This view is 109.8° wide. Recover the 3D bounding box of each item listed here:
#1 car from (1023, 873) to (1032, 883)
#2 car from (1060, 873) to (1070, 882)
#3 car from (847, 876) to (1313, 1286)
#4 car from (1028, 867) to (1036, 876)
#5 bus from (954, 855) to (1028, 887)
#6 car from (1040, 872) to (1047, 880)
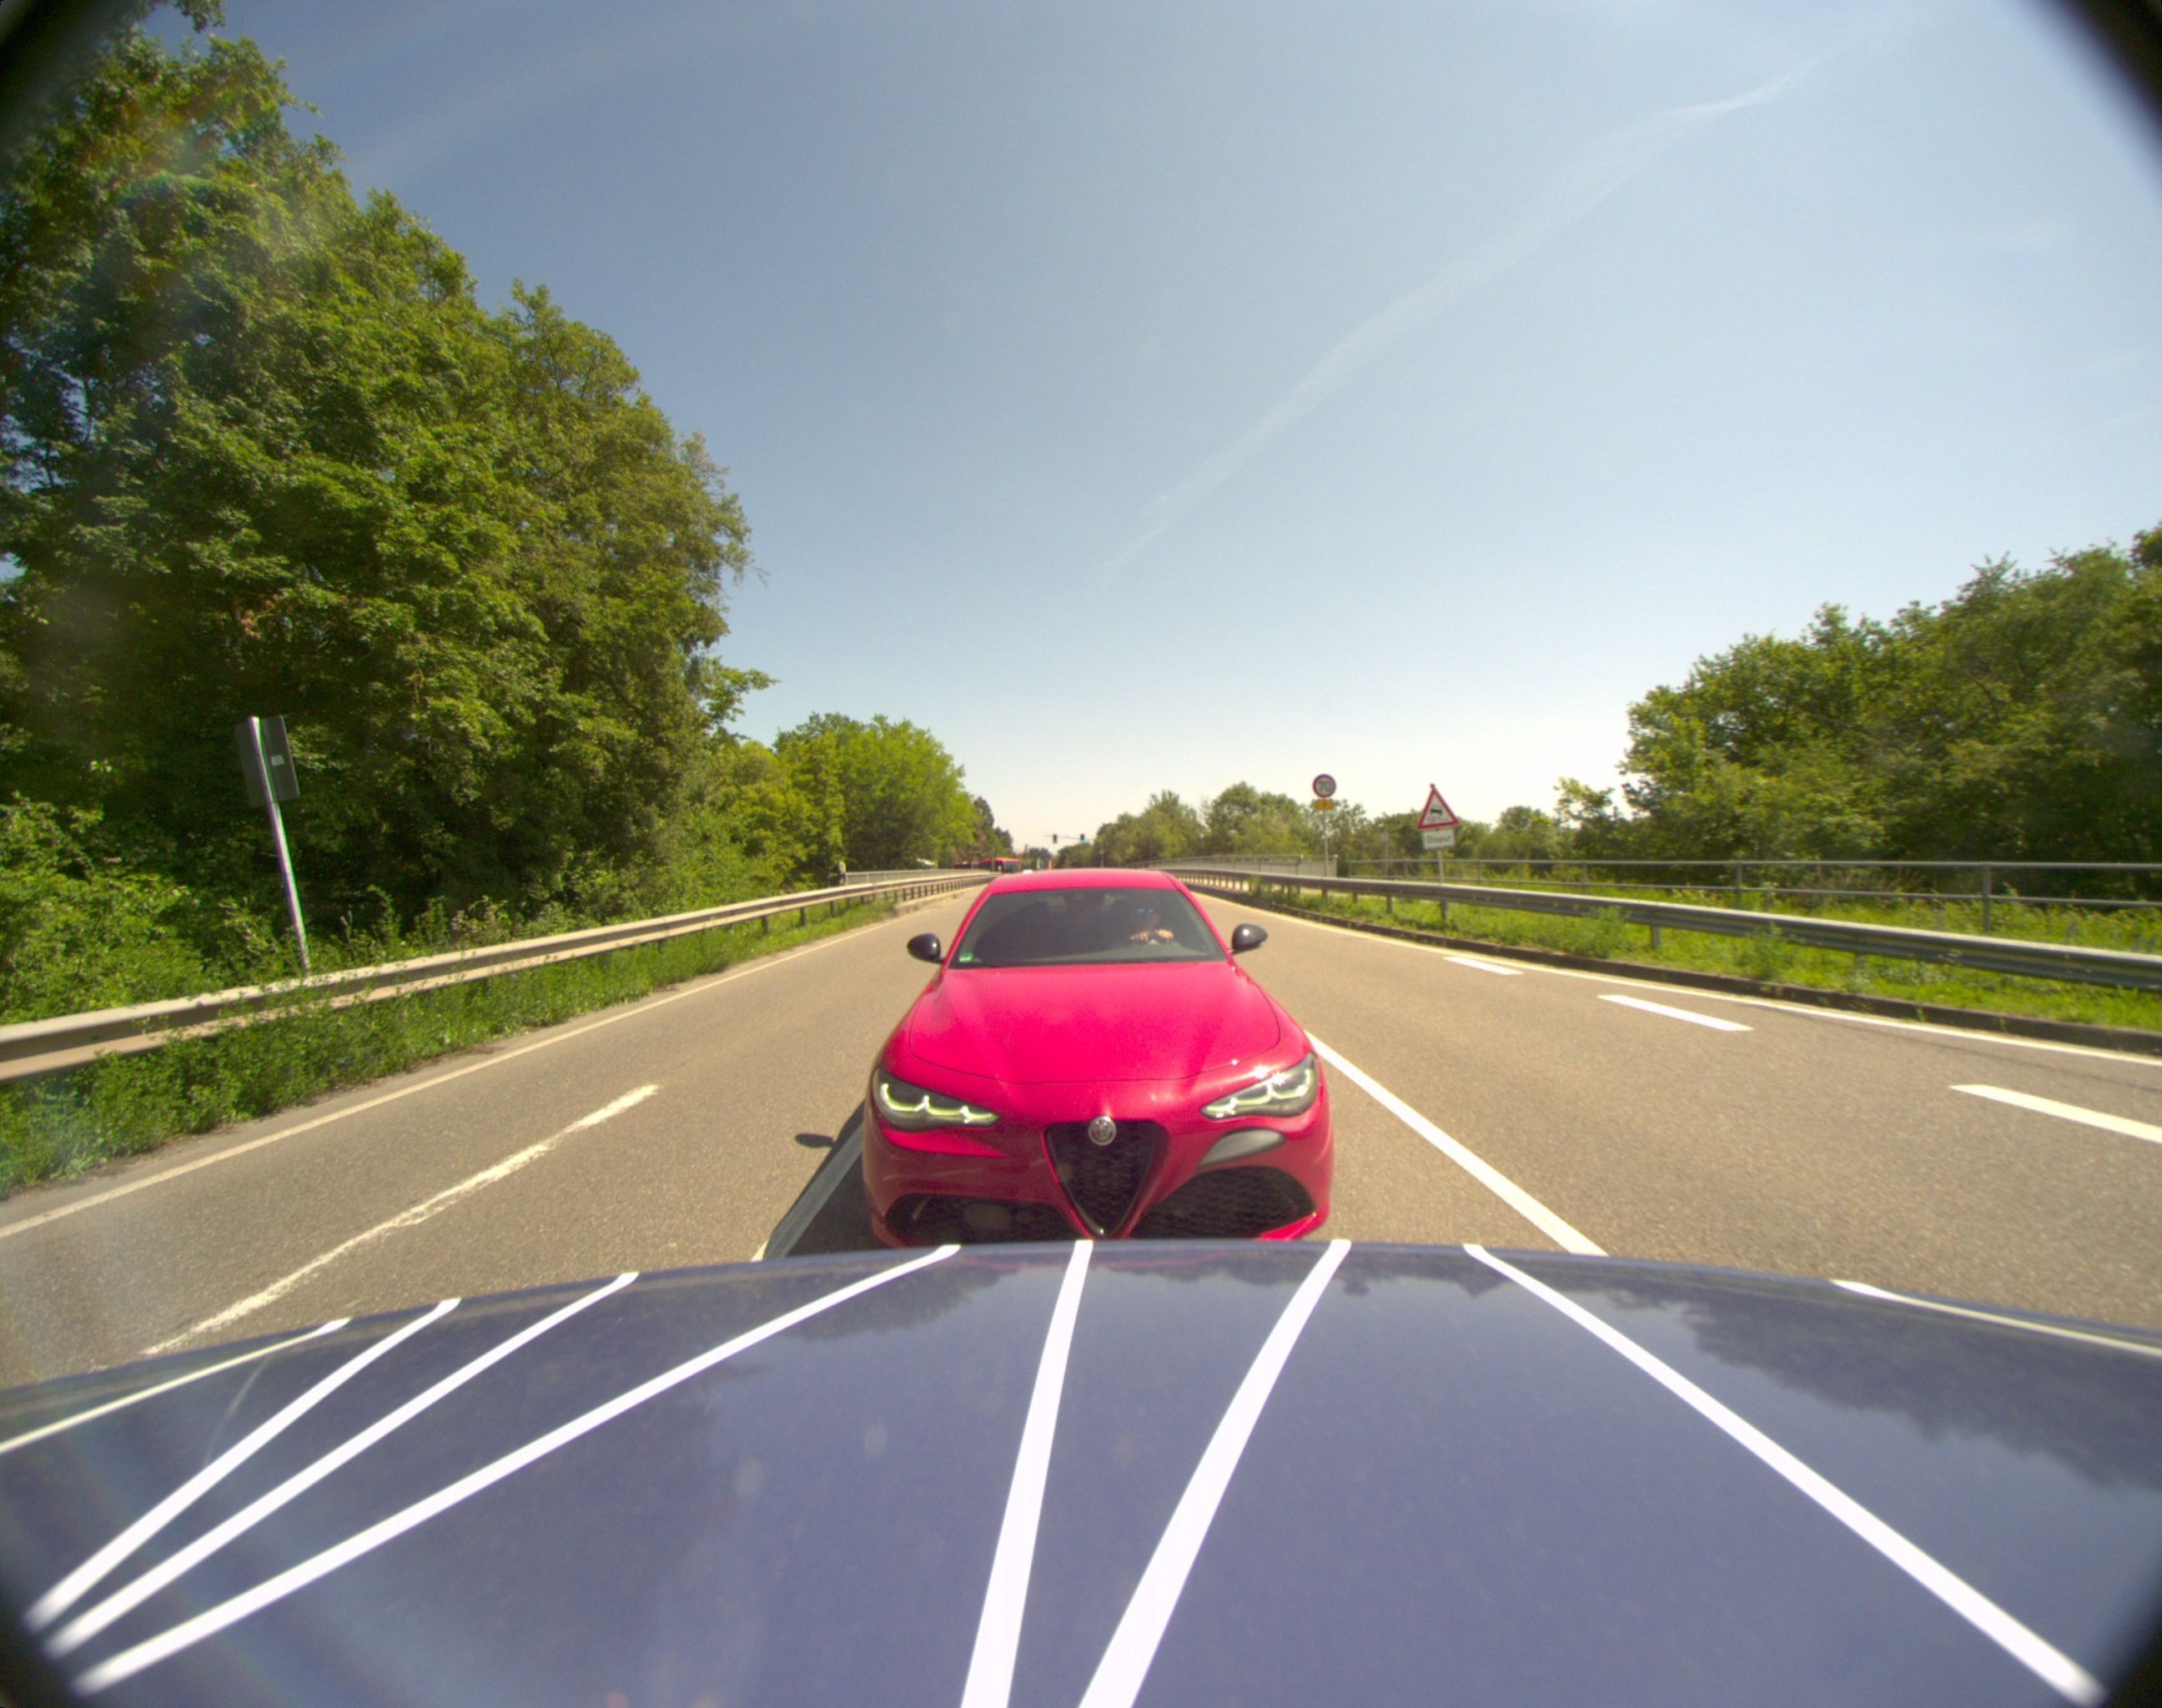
[{"bbox_3d":[-9.324,4.192,133.027,1.416,1.499,3.315,-1,0,-3],"label":"car"},{"bbox_3d":[-3.139,4.482,145.278,1.649,1.410,3.764,-2,0,-4],"label":"car"},{"bbox_3d":[-0.041,0.948,5.115,1.801,1.448,4.284,-1,0,-1],"label":"car"},{"bbox_3d":[-9.051,3.213,140.217,1.476,1.565,3.487,-1,0,-4],"label":"car"},{"bbox_3d":[-11.401,2.003,94.512,2.873,3.641,12.395,-1,1,-39],"label":"bus"},{"bbox_3d":[-11.519,6.615,230.953,1.996,2.354,5.180,-2,0,-3],"label":"car"}]
